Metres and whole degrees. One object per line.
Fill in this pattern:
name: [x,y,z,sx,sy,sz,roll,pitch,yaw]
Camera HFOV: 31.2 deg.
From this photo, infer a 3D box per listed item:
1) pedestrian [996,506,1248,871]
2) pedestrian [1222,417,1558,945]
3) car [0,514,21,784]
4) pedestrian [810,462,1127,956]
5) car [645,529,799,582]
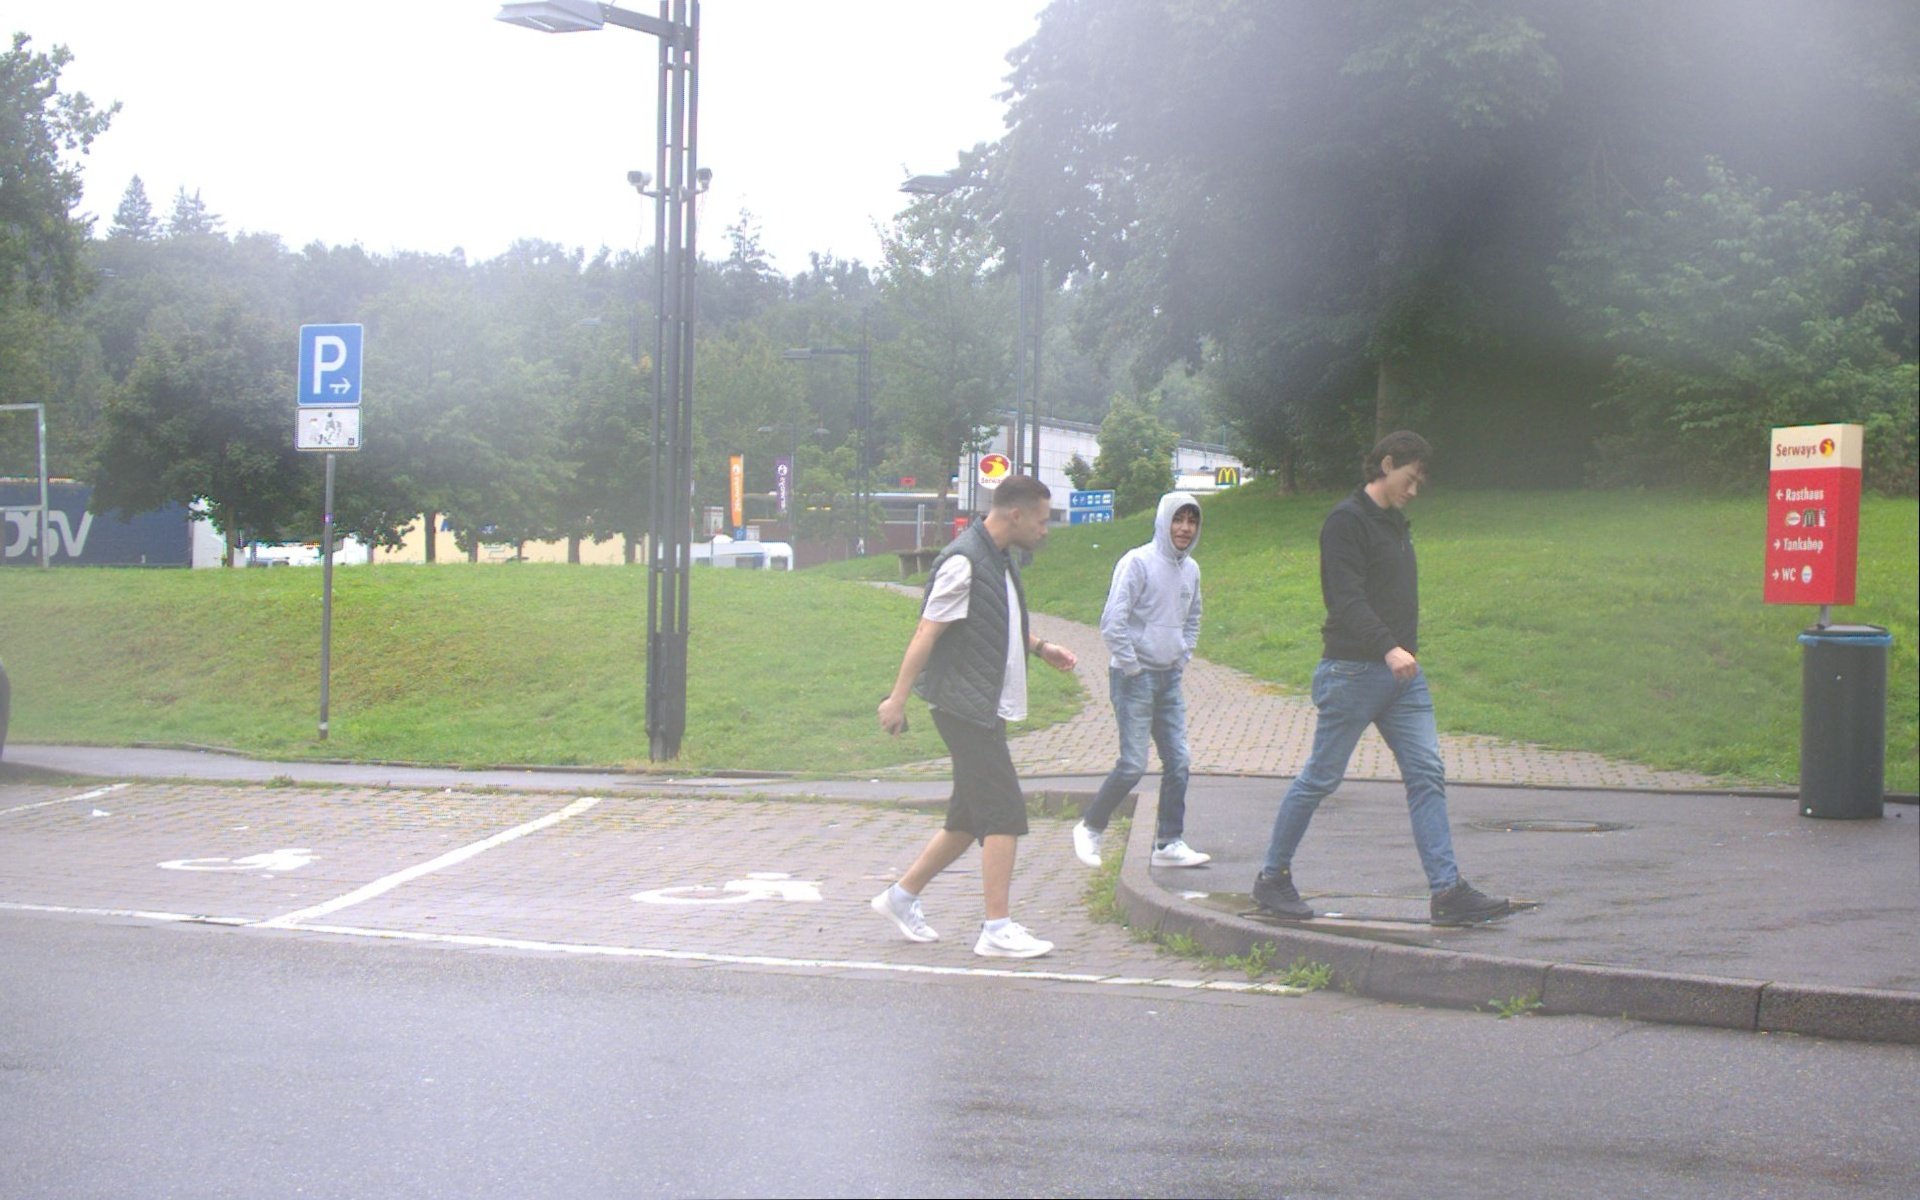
pedestrian: [0.712,0.365,15.038,0.890,1.544,0.659,0,1,29]
pedestrian: [1.593,0.277,12.687,1.000,1.858,0.798,0,1,28]
car: [-7.761,0.370,21.457,1.885,1.821,4.411,0,1,11]
pedestrian: [0.039,0.398,13.389,0.974,1.842,0.772,0,1,28]
car: [-9.252,-1.743,133.785,5.429,2.007,2.453,1,1,20]
